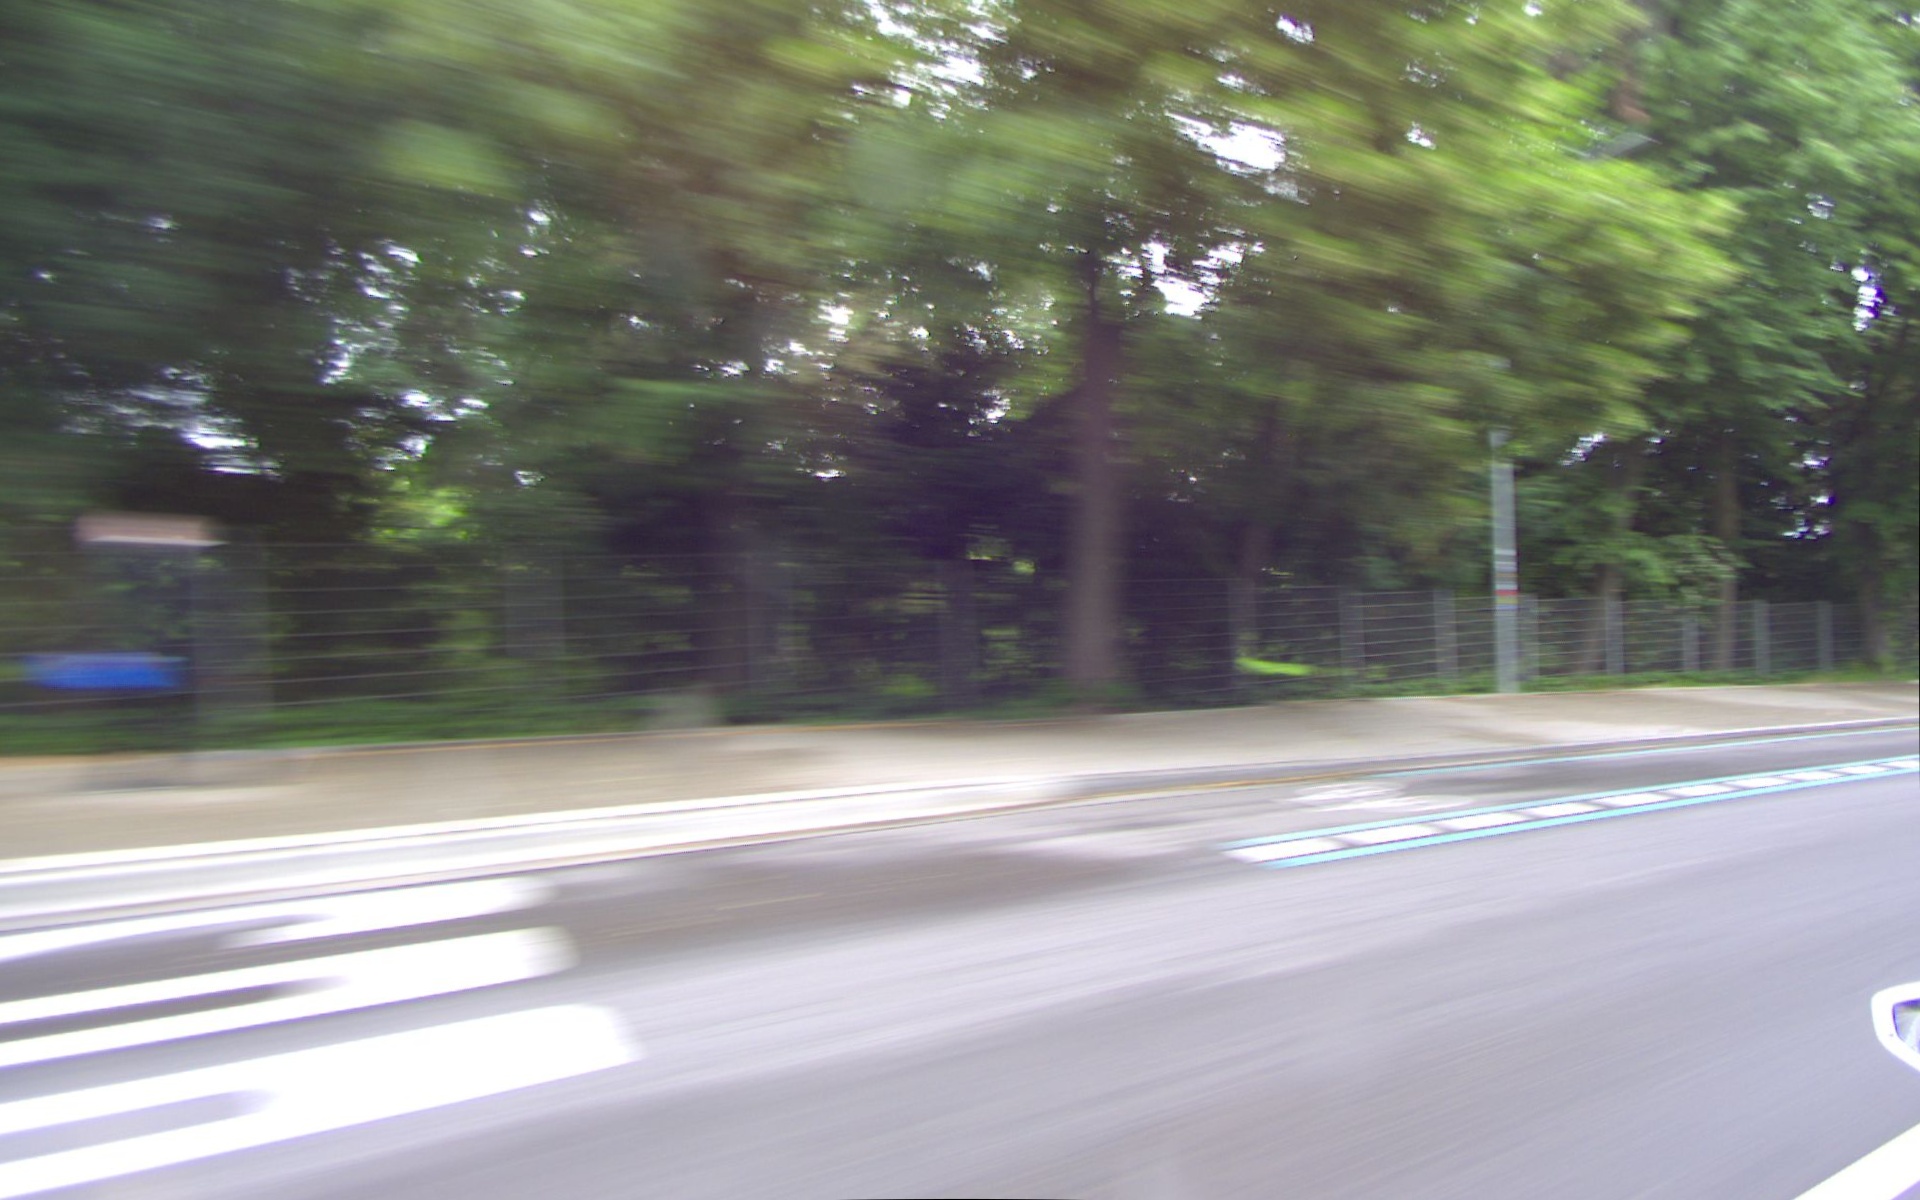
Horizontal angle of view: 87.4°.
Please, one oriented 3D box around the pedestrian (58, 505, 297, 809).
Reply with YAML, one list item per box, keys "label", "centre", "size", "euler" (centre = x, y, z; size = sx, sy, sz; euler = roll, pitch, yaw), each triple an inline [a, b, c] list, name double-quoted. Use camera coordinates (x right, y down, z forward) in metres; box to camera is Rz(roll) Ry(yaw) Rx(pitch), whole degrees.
- label: "pedestrian"
  centre: [-4.964, 0.334, 6.477]
  size: [1.134, 1.756, 0.881]
  euler: [1, 0, -34]
